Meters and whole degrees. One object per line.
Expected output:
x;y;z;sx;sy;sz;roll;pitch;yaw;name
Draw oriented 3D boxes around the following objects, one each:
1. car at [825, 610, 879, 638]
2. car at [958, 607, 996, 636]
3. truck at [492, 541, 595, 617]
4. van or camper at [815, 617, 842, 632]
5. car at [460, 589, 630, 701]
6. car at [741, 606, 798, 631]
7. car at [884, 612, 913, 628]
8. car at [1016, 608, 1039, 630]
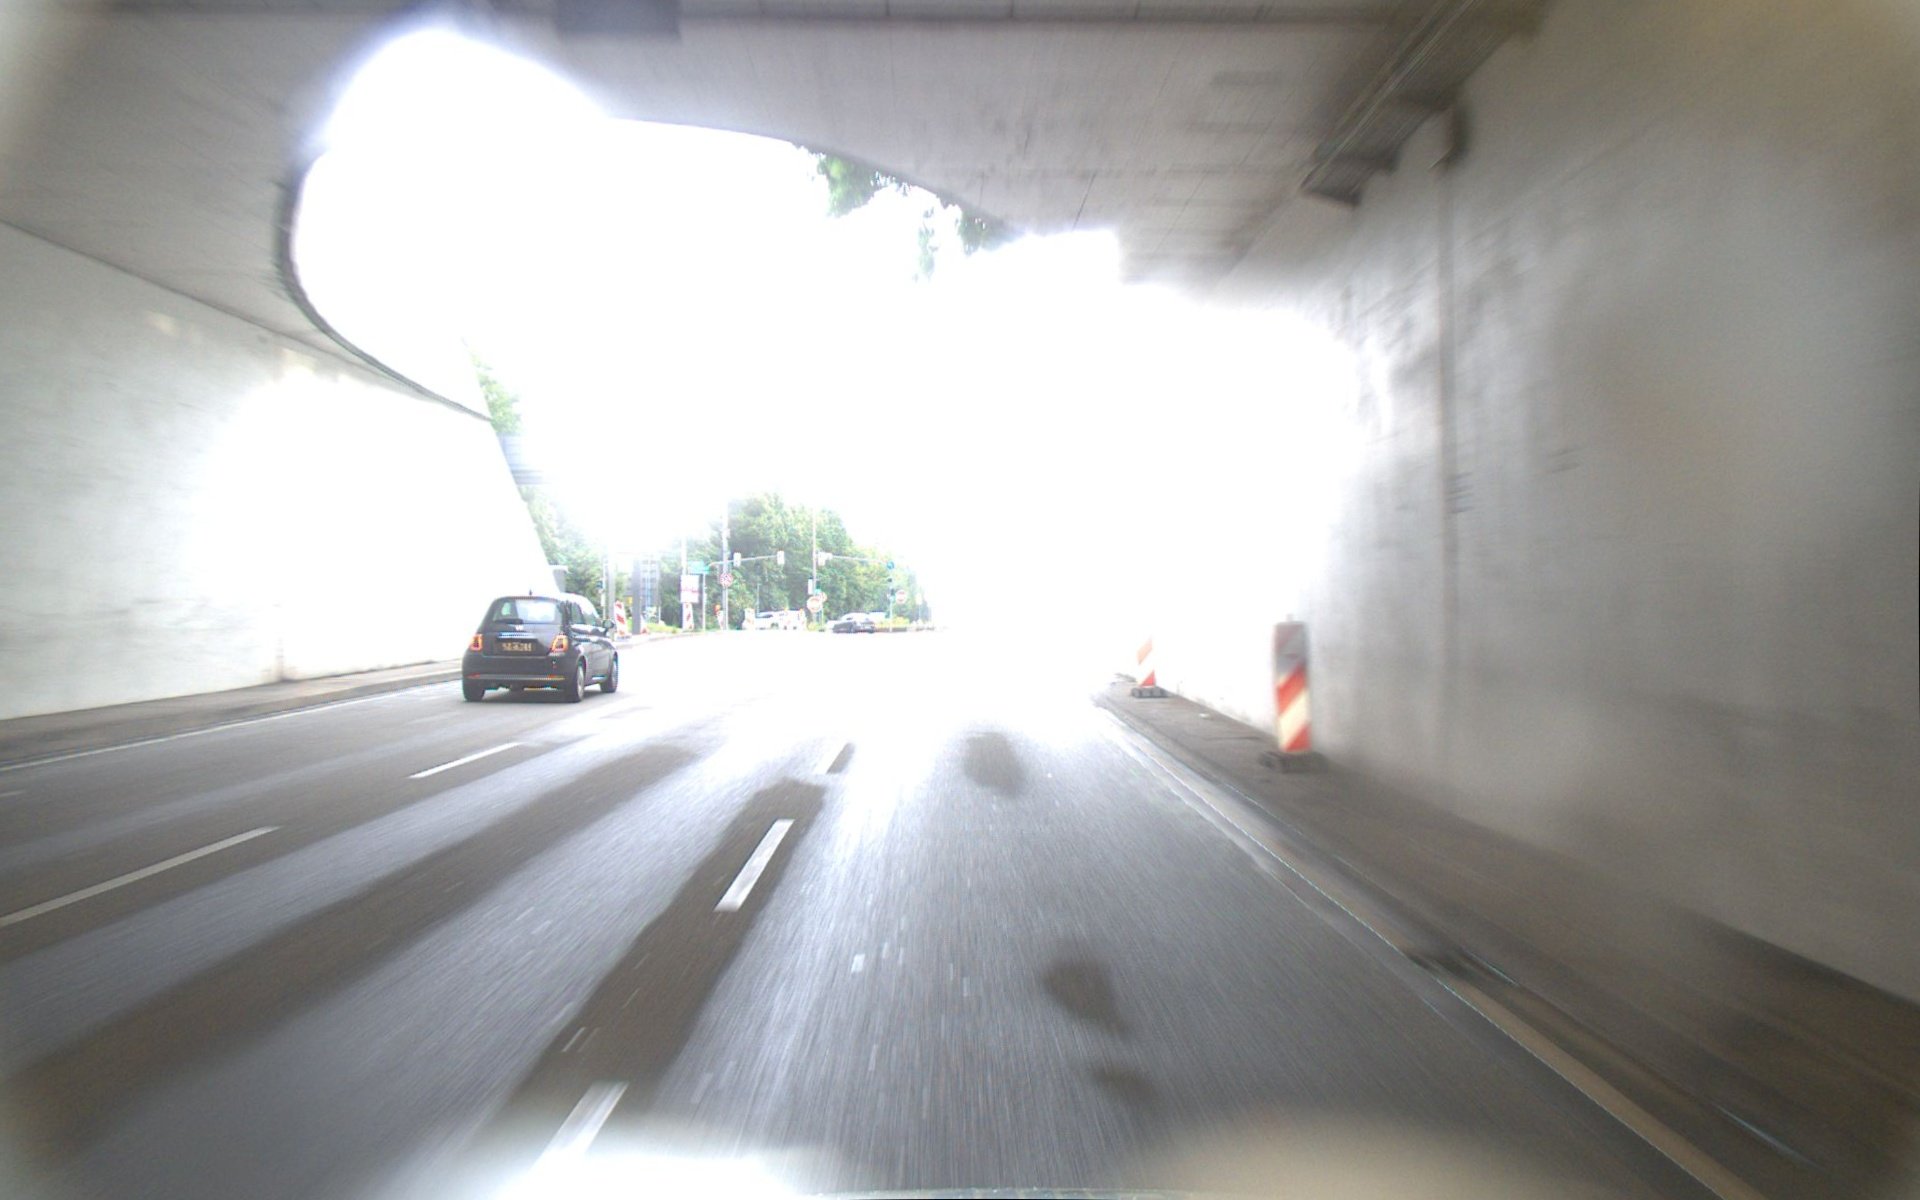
-7.520;1.660;115.030;1.877;1.713;3.948;4;-1;-37;car
0.886;1.192;89.948;1.953;1.473;4.313;2;-2;0;car
-19.698;-0.936;78.661;2.739;3.333;7.148;2;0;2;truck
-13.276;2.510;167.319;1.967;1.324;4.094;2;-2;6;van or camper
-5.891;0.586;23.835;1.579;1.480;3.572;0;0;-1;car
-14.018;1.362;121.812;3.923;1.713;1.889;2;0;38;car
-5.669;1.876;152.713;1.967;1.324;4.318;2;-2;6;car
6.544;1.848;160.751;1.953;2.049;3.998;3;-1;-1;car
